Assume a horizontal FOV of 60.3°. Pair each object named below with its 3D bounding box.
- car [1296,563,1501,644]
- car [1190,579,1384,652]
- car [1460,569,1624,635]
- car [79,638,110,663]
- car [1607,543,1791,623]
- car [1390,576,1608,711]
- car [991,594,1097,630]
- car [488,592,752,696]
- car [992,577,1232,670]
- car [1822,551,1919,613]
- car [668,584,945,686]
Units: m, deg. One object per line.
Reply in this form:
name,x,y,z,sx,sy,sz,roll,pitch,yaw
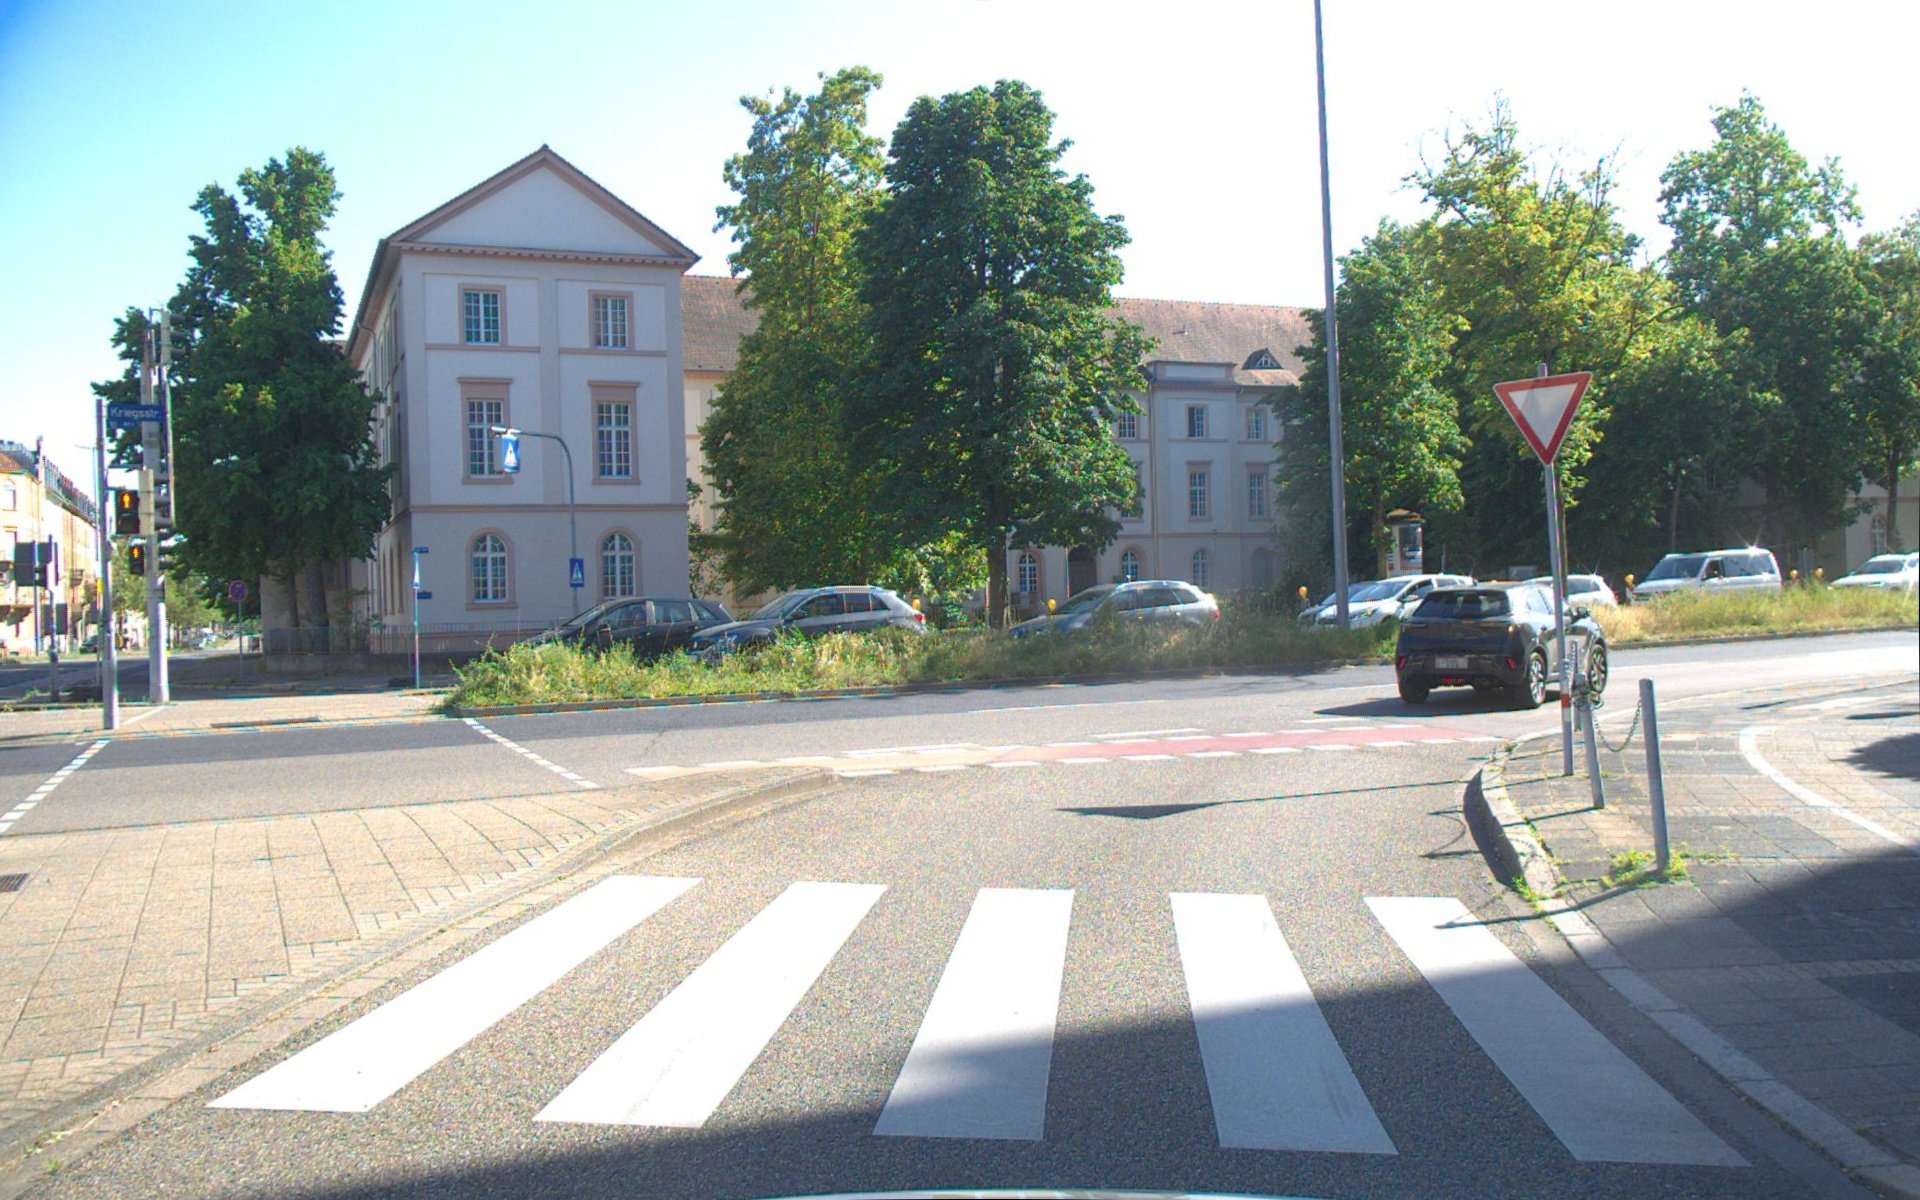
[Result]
car,9.246,0.062,34.802,4.149,1.545,1.782,-2,0,-31
car,7.494,0.324,37.805,4.289,1.545,1.783,-1,1,-31
car,14.797,0.038,42.003,4.025,1.545,1.783,-2,0,-31
car,-64.395,3.716,123.113,1.825,1.735,3.967,-2,0,-25
car,20.463,-0.483,45.783,4.951,2.063,2.217,-2,0,-31
car,7.262,0.490,22.044,1.860,1.545,3.990,0,2,32
car,3.771,0.541,74.167,4.621,1.518,1.631,2,-1,-30
car,-6.011,0.739,29.377,4.221,1.613,1.843,-2,0,-31
car,2.894,0.402,31.276,4.305,1.545,1.783,-2,1,-31
car,28.635,-0.577,50.476,4.965,1.773,1.782,-2,0,-31
car,-2.541,0.539,27.705,4.289,1.545,1.783,-1,1,-31
